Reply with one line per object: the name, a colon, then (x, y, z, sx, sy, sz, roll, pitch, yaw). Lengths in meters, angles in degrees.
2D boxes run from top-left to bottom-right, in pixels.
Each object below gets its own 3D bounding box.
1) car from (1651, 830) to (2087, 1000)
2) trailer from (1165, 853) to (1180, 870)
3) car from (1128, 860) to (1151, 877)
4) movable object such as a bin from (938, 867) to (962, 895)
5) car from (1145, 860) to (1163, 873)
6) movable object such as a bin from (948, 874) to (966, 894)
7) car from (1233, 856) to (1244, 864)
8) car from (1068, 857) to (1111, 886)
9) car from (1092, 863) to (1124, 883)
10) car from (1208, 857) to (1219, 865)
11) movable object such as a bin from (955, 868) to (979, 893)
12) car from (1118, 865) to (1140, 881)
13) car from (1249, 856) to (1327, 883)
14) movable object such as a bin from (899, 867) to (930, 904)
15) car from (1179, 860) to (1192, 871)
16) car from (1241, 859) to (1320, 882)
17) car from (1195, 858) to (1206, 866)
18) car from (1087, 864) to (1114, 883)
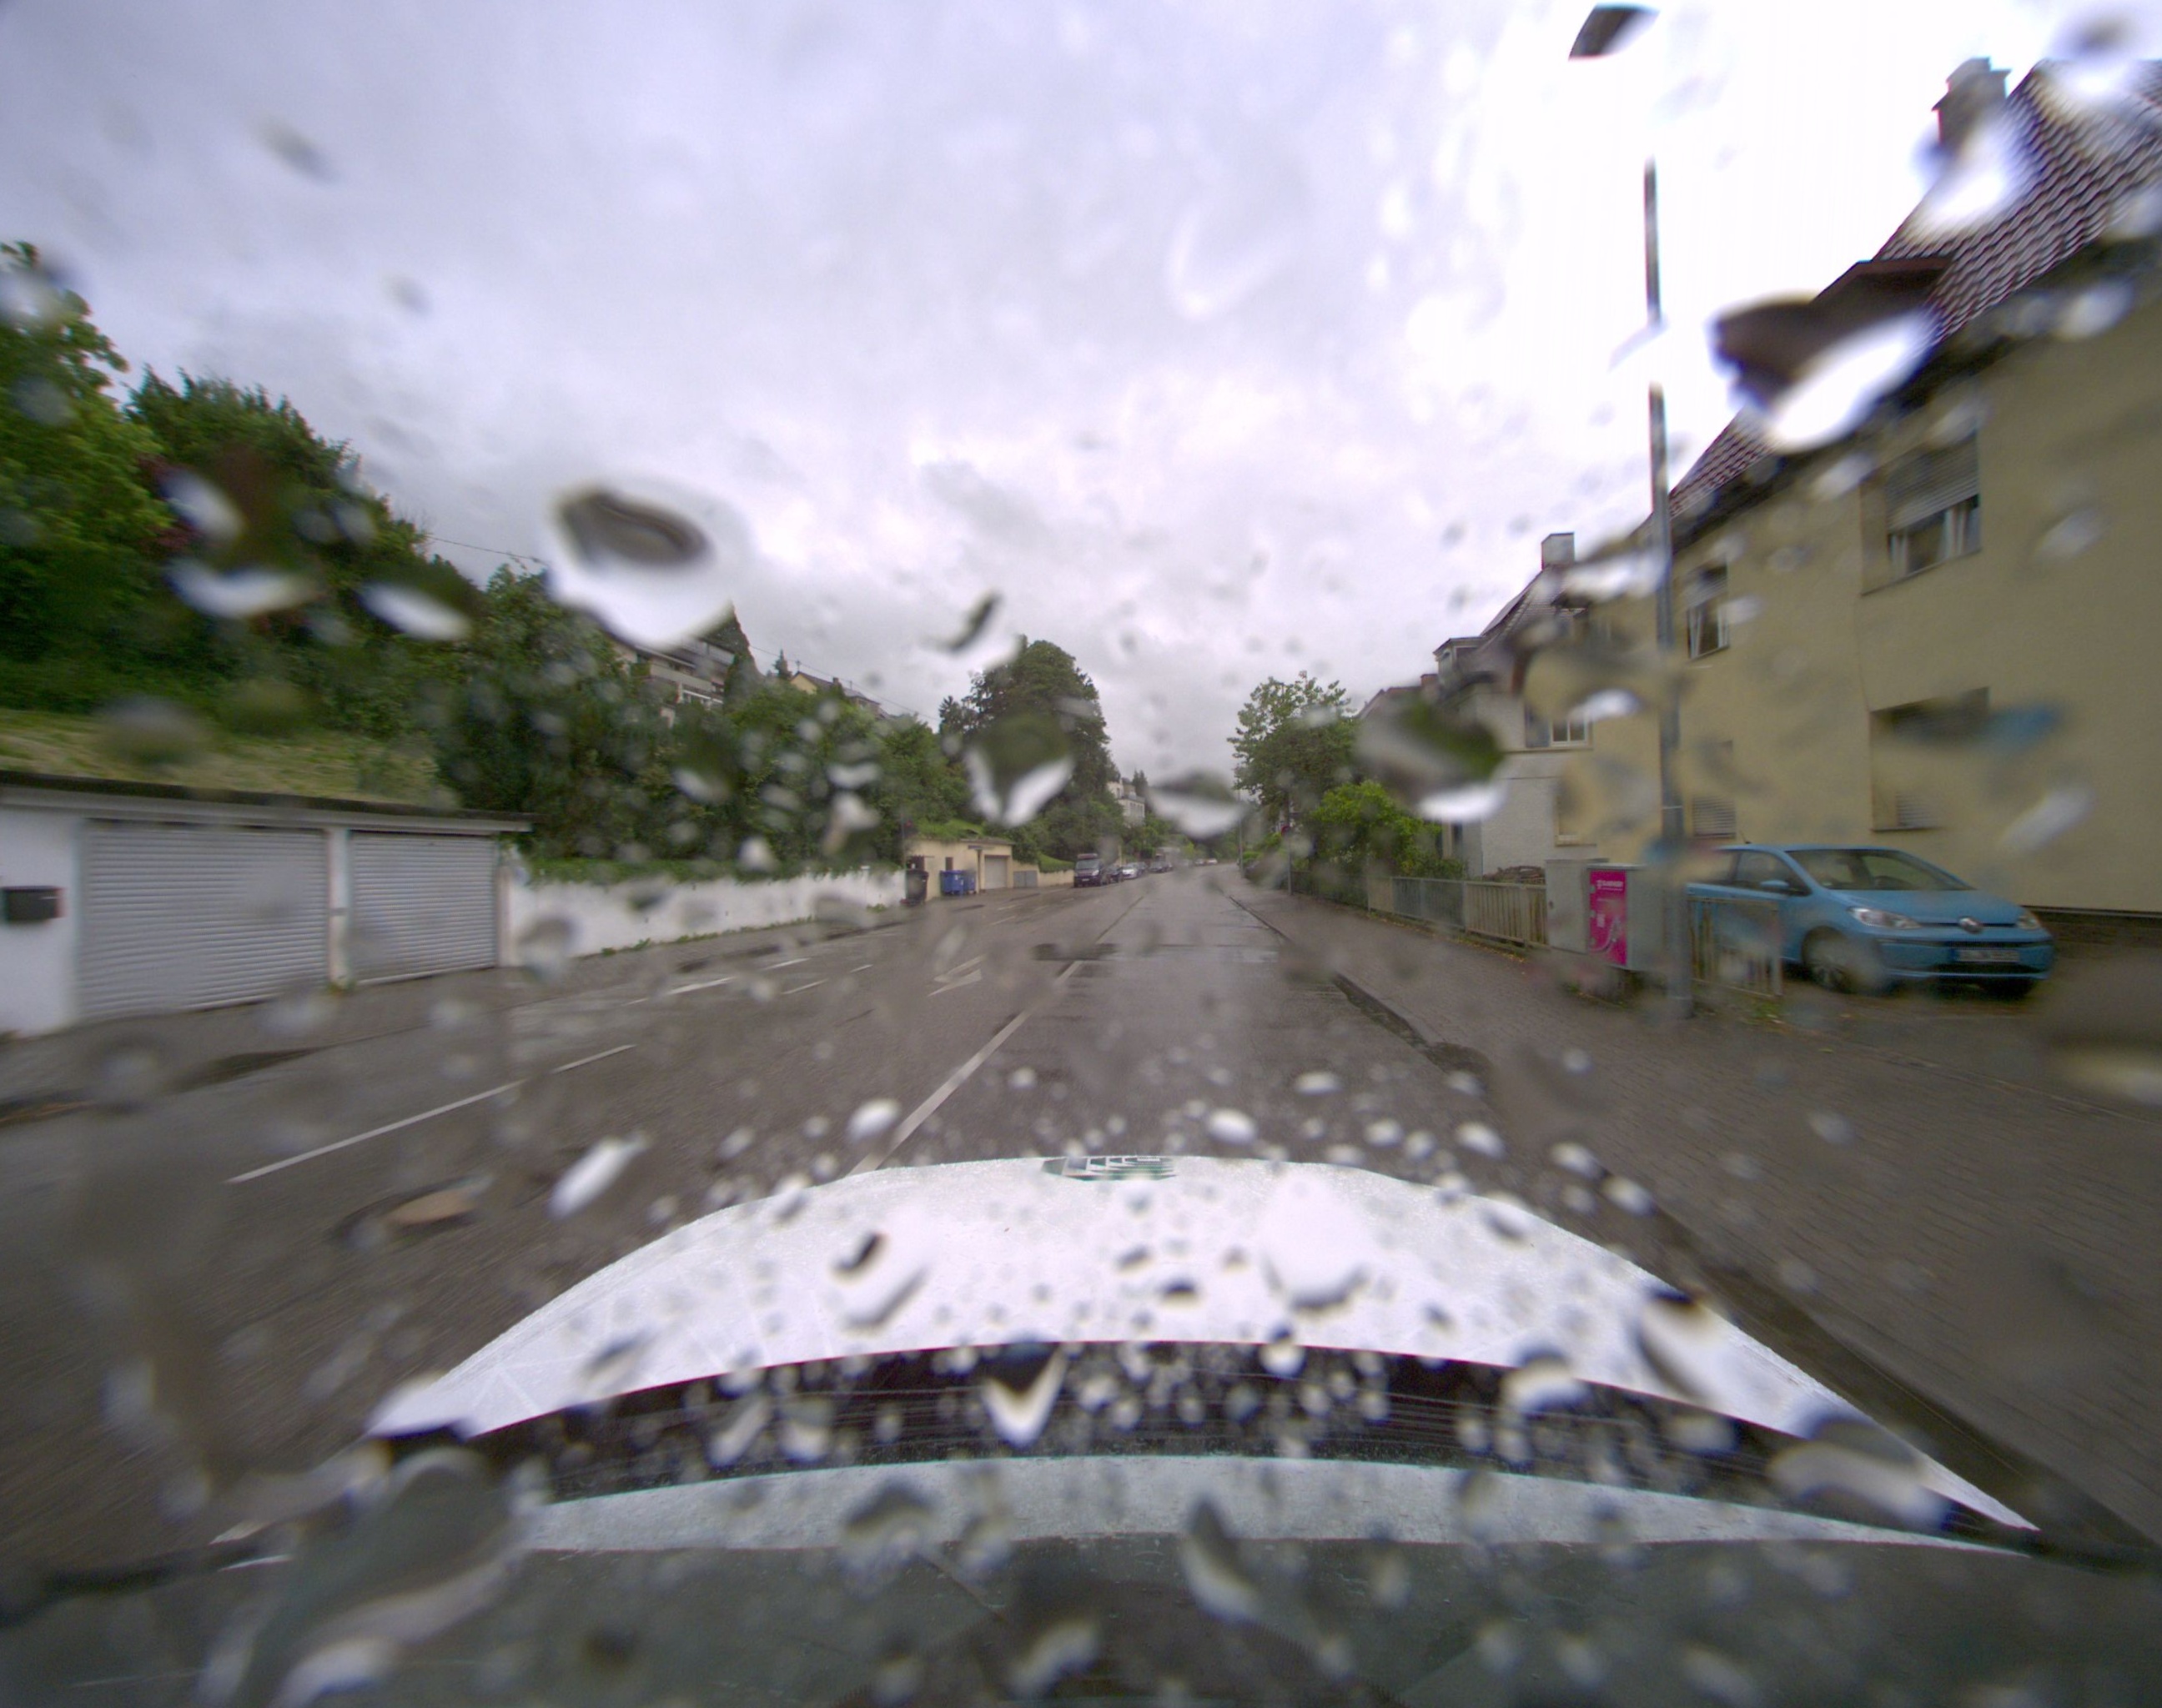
car: (8.121, 0.561, 8.914, 1.660, 1.471, 3.533, -1, -1, 8)
trailer: (14.119, 1.119, 125.636, 1.525, 2.399, 3.085, -4, -1, 16)
car: (6.512, 1.562, 90.074, 1.862, 1.626, 4.607, -5, -1, 11)
movable object such as a bin: (-6.823, 1.387, 42.416, 0.815, 1.382, 1.138, -1, 0, 12)
car: (9.656, 1.606, 107.847, 1.774, 1.455, 4.770, -4, -1, 11)
movable object such as a bin: (-6.590, 1.596, 43.310, 0.730, 1.042, 0.609, -1, -1, 12)
car: (31.075, 1.249, 160.577, 1.775, 1.460, 4.327, -2, -1, 17)
car: (0.668, 1.215, 58.757, 2.145, 1.919, 5.337, -3, -1, 10)
car: (2.379, 1.566, 69.434, 1.896, 1.480, 4.769, -5, -2, 11)
car: (29.302, 1.519, 179.879, 1.743, 1.498, 4.236, -3, -1, 15)
movable object such as a bin: (-6.245, 1.455, 44.578, 0.815, 1.314, 1.406, -1, 0, 12)
car: (4.740, 1.844, 80.241, 1.706, 1.365, 4.093, -4, 0, 8)
car: (11.905, 0.901, 46.984, 3.949, 1.457, 1.783, -2, 0, 42)
movable object such as a bin: (-6.589, 1.250, 32.274, 0.928, 1.445, 0.863, 1, -2, 6)
car: (17.863, 1.966, 139.294, 1.743, 1.539, 3.770, -5, -1, 13)
car: (12.346, 1.031, 50.532, 4.327, 1.364, 1.931, -2, -2, 42)
car: (23.675, 1.499, 161.454, 1.743, 1.402, 3.784, -5, -1, 14)
car: (1.525, 1.515, 63.854, 1.555, 1.365, 3.916, -4, -1, 8)
